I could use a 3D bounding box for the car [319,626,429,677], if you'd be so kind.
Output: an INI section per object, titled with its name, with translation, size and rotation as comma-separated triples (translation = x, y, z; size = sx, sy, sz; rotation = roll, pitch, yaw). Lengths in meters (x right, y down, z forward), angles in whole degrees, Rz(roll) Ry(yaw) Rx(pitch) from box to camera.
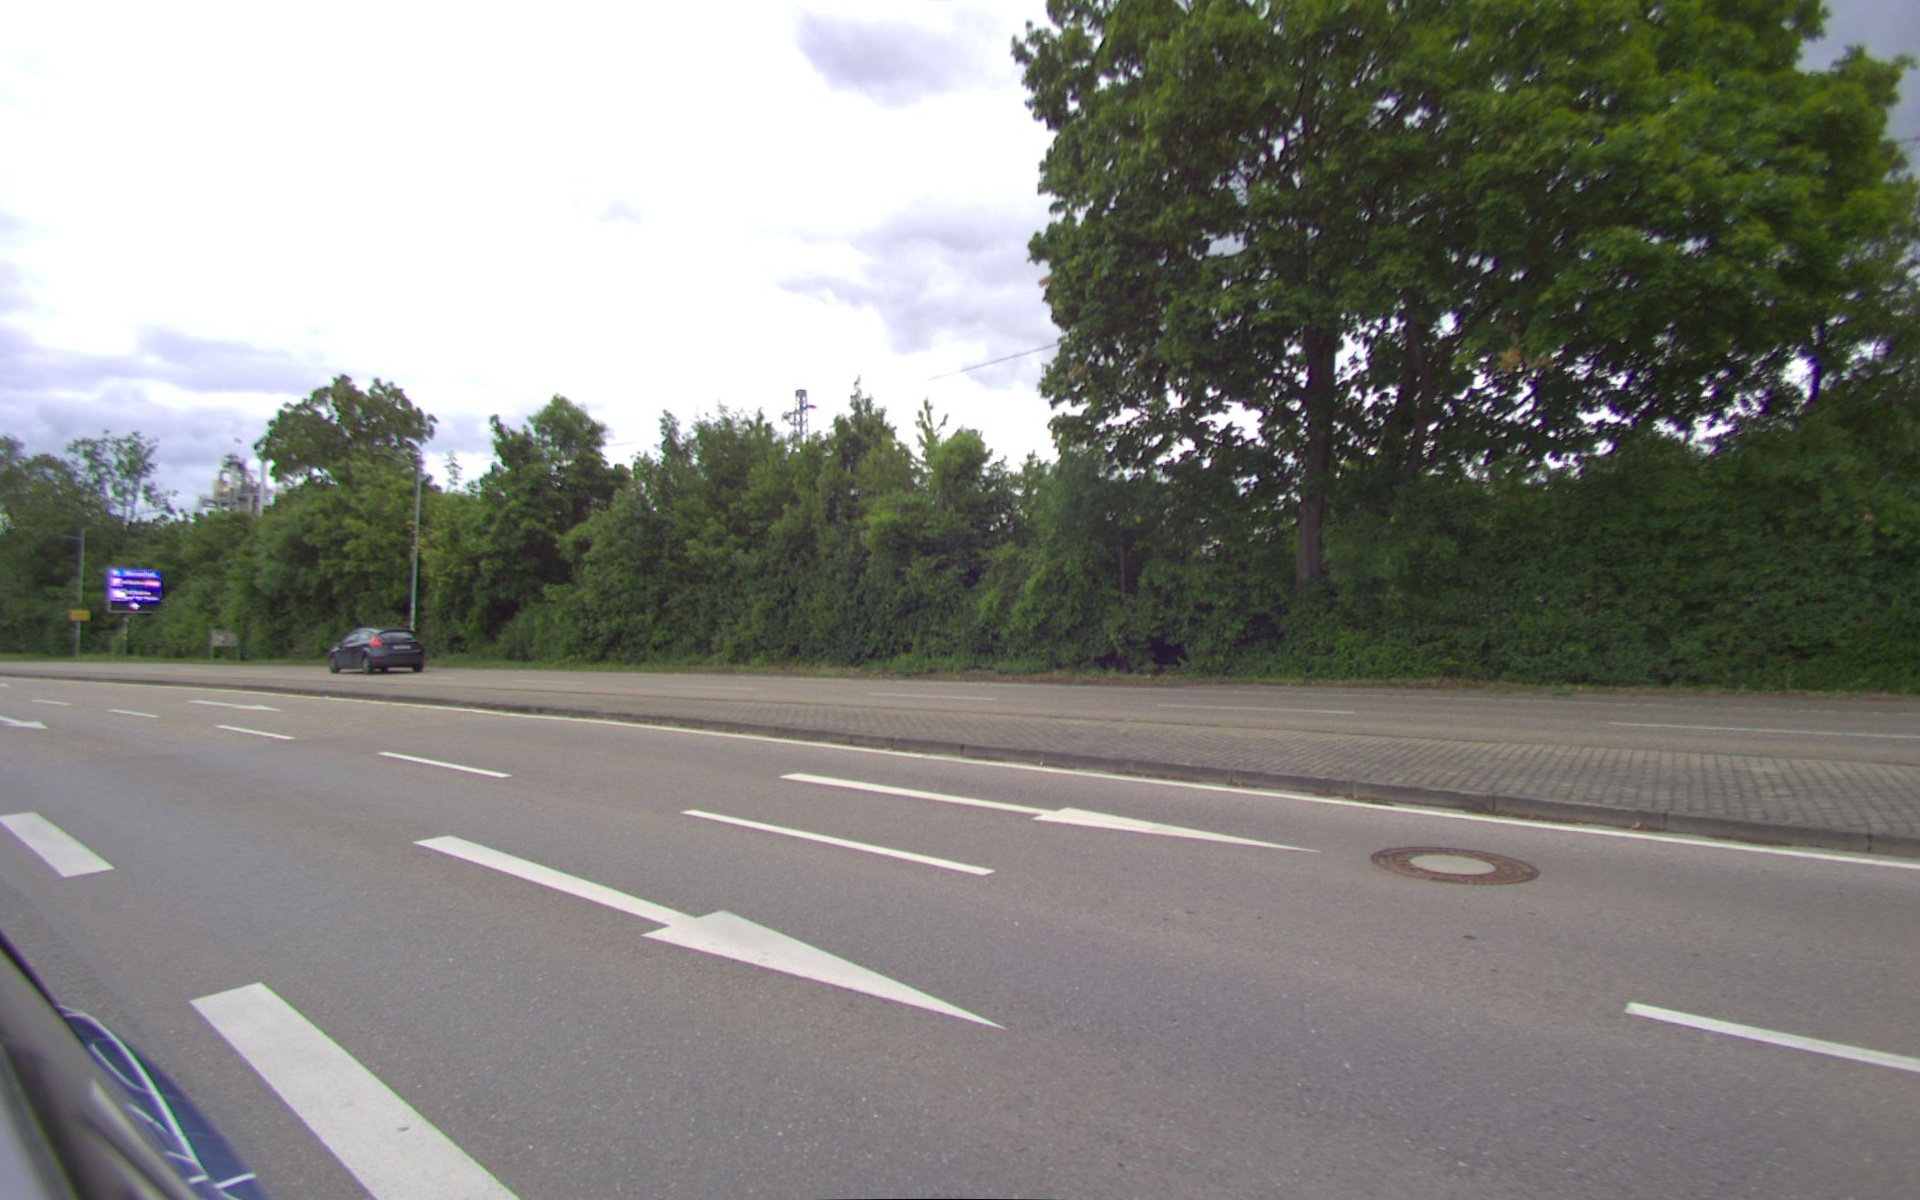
[car]
translation = -18.690, 1.601, 32.222
size = 3.995, 1.475, 1.682
rotation = -1, 0, 39
